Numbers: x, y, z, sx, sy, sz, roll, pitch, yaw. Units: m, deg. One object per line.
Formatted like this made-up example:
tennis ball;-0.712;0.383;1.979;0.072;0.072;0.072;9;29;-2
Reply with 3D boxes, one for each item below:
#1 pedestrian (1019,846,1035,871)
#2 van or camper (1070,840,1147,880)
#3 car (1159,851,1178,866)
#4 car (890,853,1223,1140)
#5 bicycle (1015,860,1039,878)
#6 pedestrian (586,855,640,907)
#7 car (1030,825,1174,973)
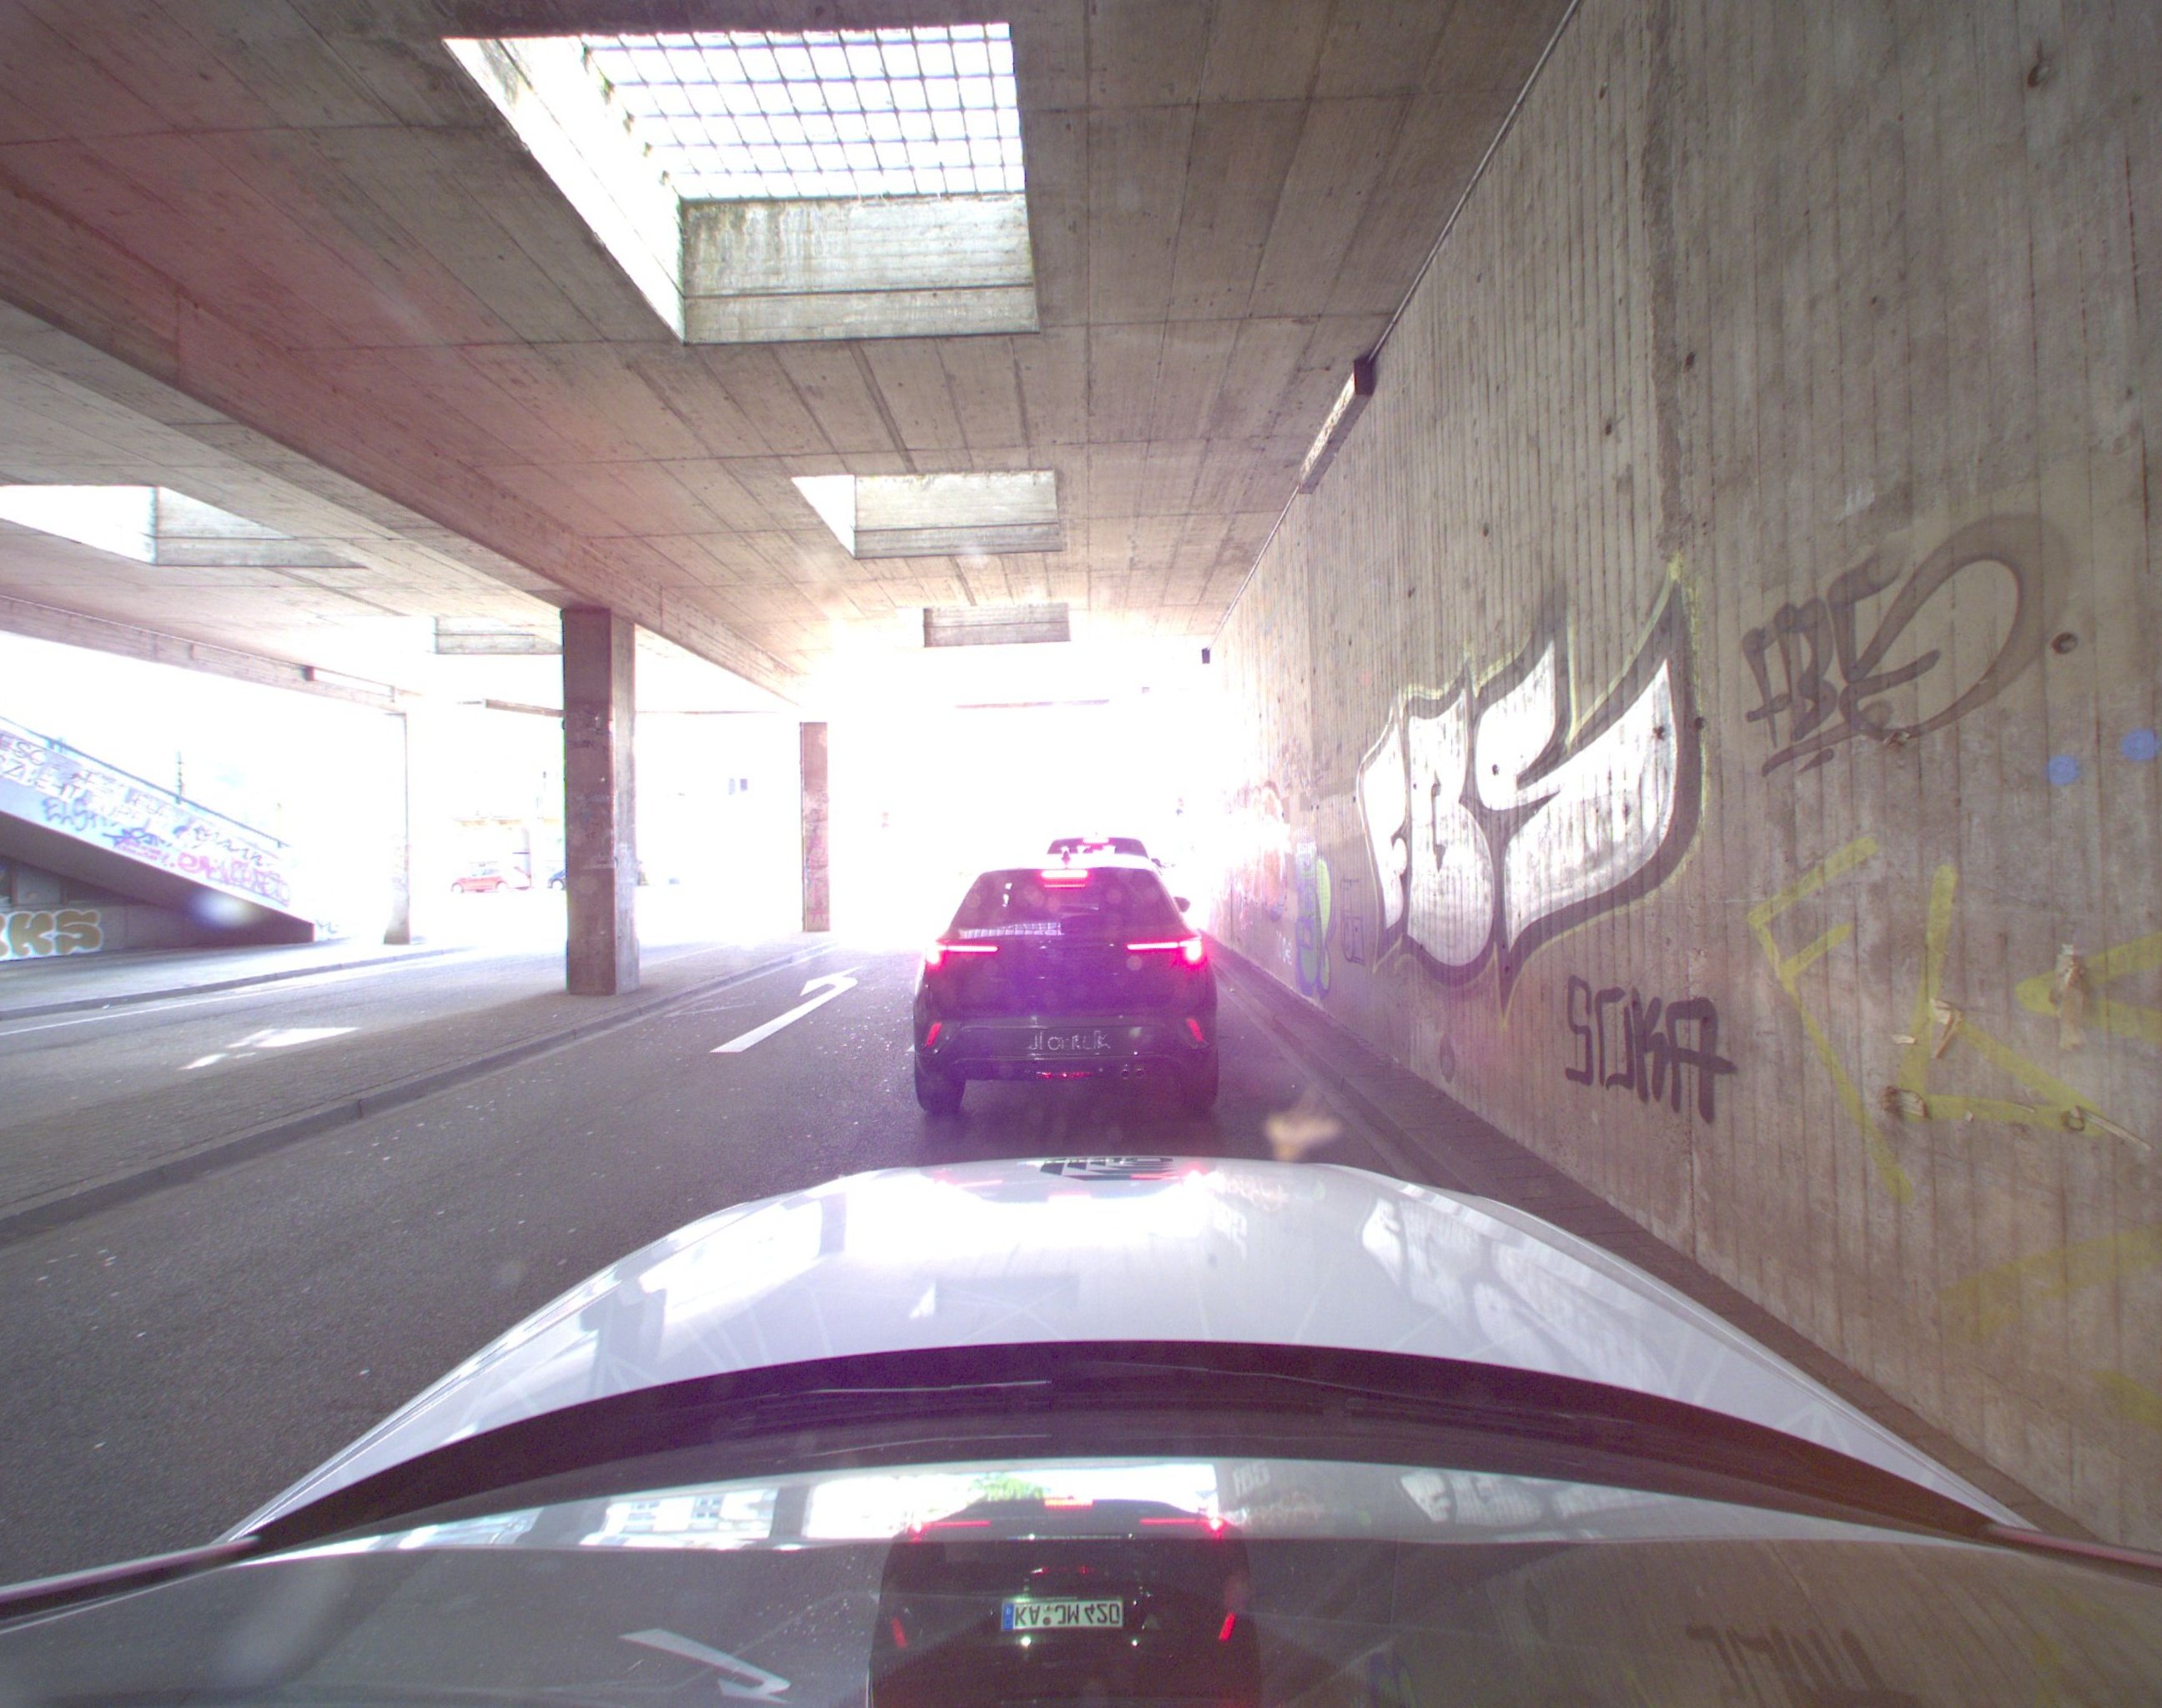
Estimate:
pedestrian;-3.409;0.311;51.665;0.729;1.585;0.894;0;-1;18
van or camper;1.511;0.339;43.795;3.854;2.013;2.005;-1;0;9
car;9.052;0.462;83.773;1.588;1.452;3.807;-1;0;11
car;-0.056;0.743;6.270;1.746;1.498;4.002;0;0;2
bicycle;-3.427;0.945;51.578;0.730;1.130;2.036;-1;0;19
pedestrian;-16.196;0.935;28.214;1.103;1.737;1.146;-1;0;15
car;0.332;0.561;12.138;1.779;1.833;3.962;0;0;2
